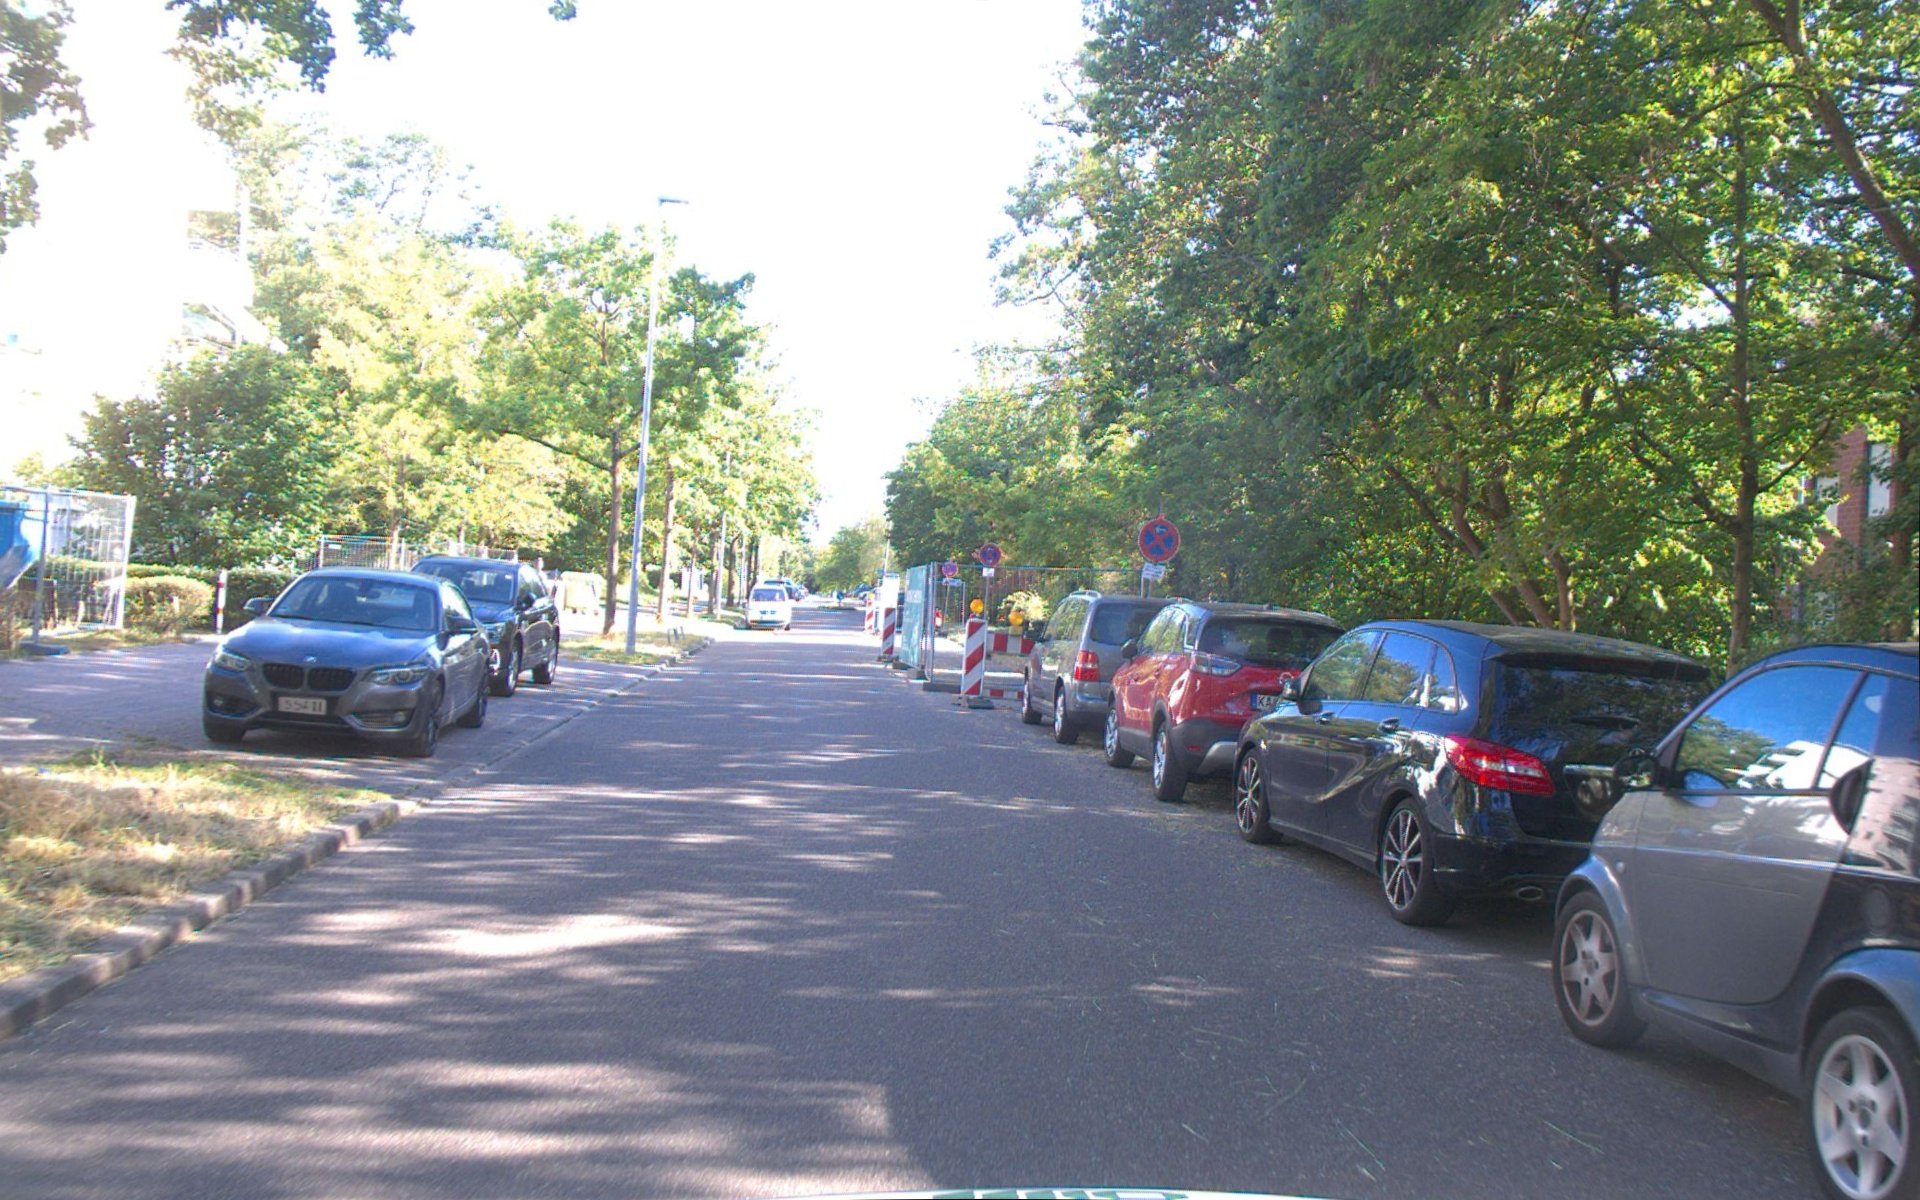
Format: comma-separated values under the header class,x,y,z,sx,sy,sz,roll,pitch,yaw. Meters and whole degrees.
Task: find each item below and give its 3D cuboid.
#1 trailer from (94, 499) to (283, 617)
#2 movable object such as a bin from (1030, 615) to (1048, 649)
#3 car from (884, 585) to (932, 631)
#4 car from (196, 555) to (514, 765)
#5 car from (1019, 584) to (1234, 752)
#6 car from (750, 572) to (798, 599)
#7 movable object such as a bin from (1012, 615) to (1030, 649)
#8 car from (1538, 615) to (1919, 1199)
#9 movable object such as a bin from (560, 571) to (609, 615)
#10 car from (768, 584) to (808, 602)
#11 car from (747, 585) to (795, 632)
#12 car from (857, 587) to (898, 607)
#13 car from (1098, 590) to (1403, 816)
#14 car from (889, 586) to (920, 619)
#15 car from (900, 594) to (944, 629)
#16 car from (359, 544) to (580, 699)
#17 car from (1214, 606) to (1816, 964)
class,x,y,z,sx,sy,sz,roll,pitch,yaw
trailer,-16.036,-0.827,34.642,1.826,2.157,4.345,5,0,-1
movable object such as a bin,2.103,0.854,44.063,0.404,0.885,0.484,1,0,-4
car,-2.096,0.332,67.583,1.773,1.679,4.420,4,0,-1
car,-5.104,0.430,14.523,1.684,1.457,4.130,5,0,-8
car,1.812,0.692,19.275,1.646,1.649,4.133,4,0,-5
car,-21.173,-1.617,187.903,5.105,2.666,2.288,5,0,-10
movable object such as a bin,1.625,0.845,44.004,0.404,0.885,0.484,1,0,-4
car,3.151,0.885,5.348,1.464,1.535,2.675,4,0,-2
movable object such as a bin,-13.221,-0.246,58.231,1.242,1.460,1.182,2,0,11
car,-18.610,-0.731,179.151,4.025,1.604,1.957,5,0,-3
car,-7.031,0.296,61.702,1.627,1.624,4.004,3,0,-6
car,-7.922,-0.255,159.170,3.760,1.604,1.689,5,0,2
car,2.375,0.771,14.543,1.646,1.601,4.063,4,0,-4
car,-3.332,0.140,98.821,1.591,1.803,3.665,4,0,-4
car,-1.728,0.488,74.323,1.629,1.399,4.151,4,0,-5
car,-6.108,0.233,21.093,1.741,1.649,4.216,5,0,-5
car,2.946,0.887,9.825,1.680,1.535,4.143,4,0,-7
